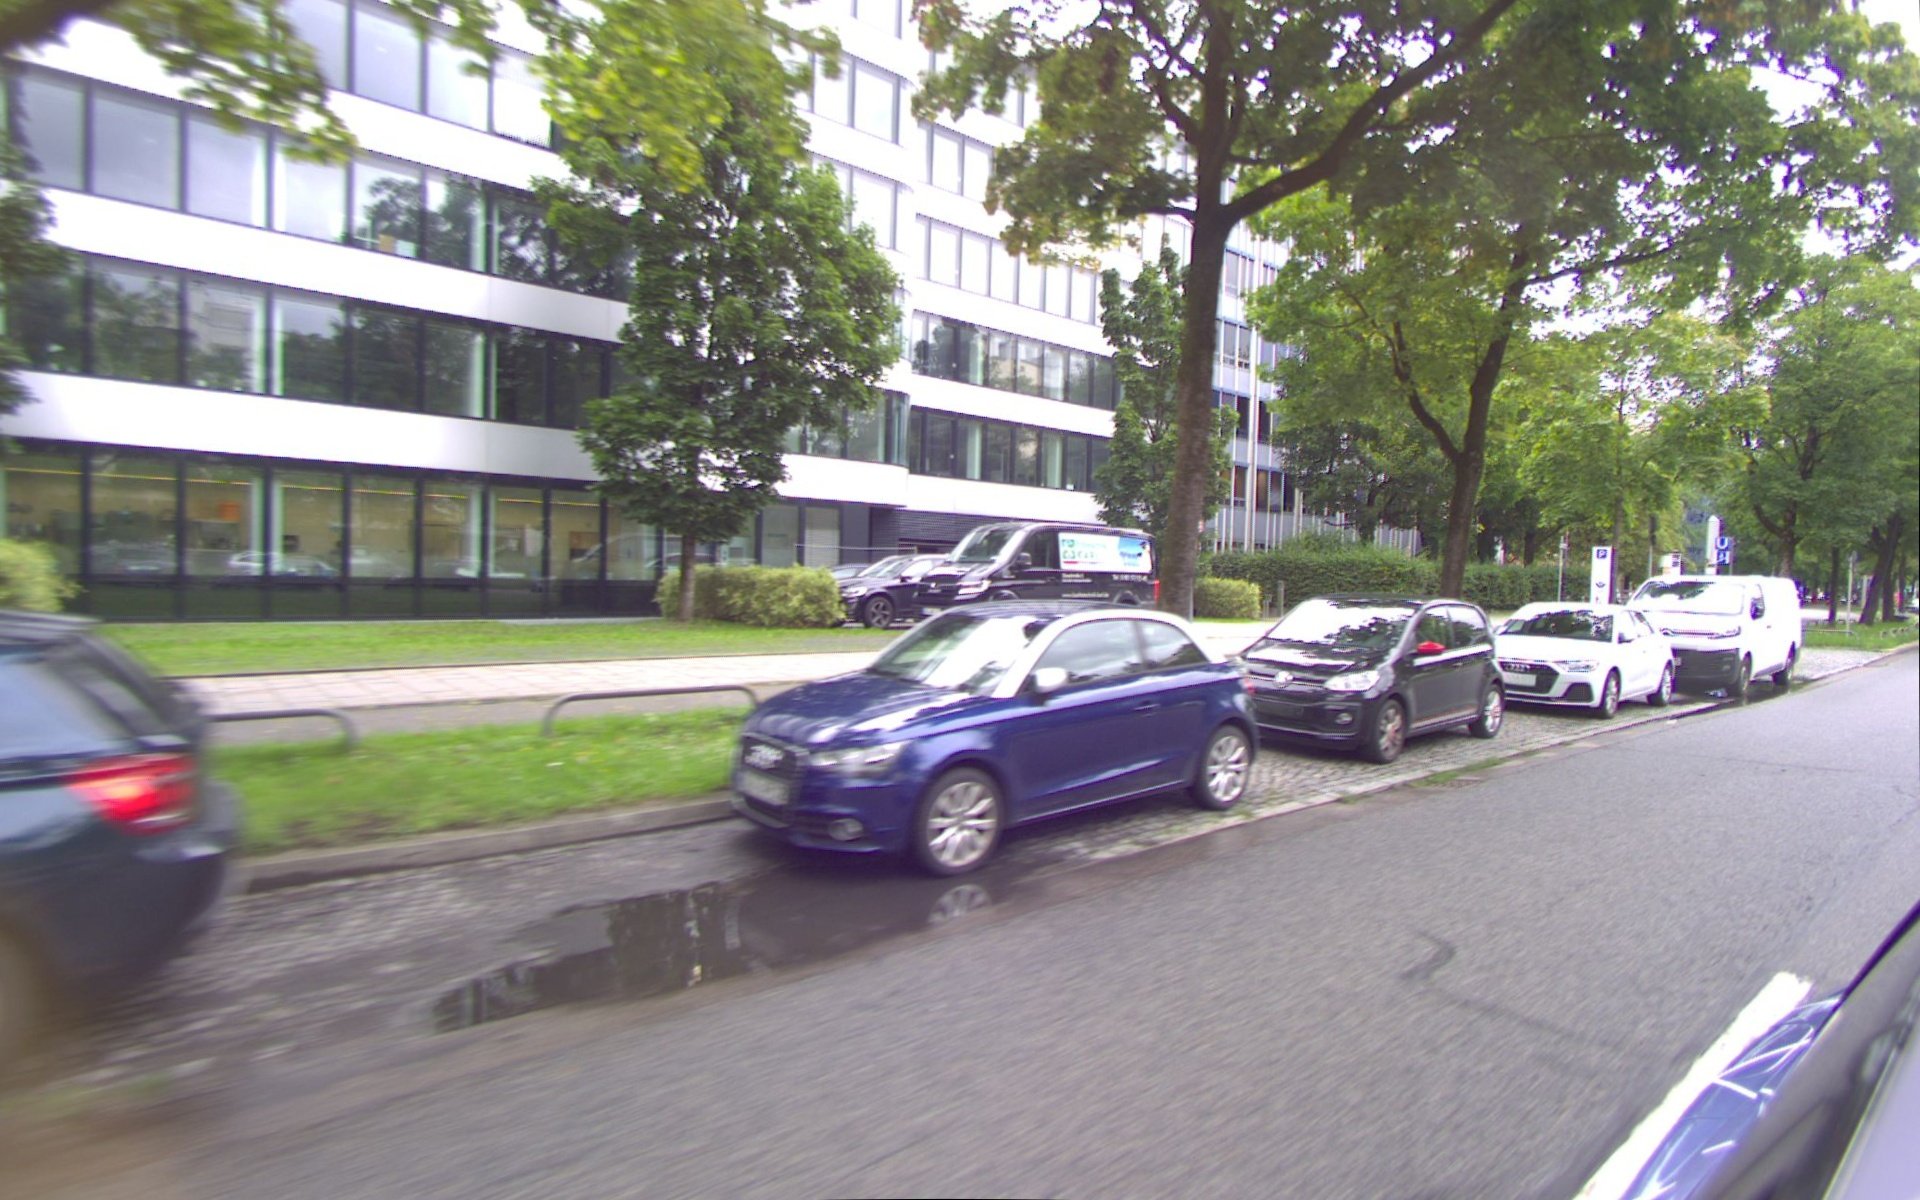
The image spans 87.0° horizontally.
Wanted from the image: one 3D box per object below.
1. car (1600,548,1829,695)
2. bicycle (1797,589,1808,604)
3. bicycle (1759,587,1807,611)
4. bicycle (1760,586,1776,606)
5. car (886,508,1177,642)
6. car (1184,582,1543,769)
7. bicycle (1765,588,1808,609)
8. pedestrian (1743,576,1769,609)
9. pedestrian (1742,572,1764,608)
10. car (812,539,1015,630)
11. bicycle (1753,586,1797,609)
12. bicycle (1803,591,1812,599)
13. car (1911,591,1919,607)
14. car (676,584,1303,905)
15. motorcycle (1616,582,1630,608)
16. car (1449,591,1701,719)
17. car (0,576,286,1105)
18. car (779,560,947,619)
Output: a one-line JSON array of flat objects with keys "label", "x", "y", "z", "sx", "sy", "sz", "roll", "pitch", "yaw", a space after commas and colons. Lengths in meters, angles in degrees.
[{"label": "car", "x": 13.337, "y": 0.281, "z": 17.739, "sx": 5.457, "sy": 2.184, "sz": 1.992, "roll": 0, "pitch": 3, "yaw": -41}, {"label": "bicycle", "x": 76.280, "y": -0.332, "z": 91.618, "sx": 0.620, "sy": 1.265, "sz": 1.891, "roll": 3, "pitch": 3, "yaw": 42}, {"label": "bicycle", "x": 47.232, "y": -0.064, "z": 58.099, "sx": 1.927, "sy": 1.203, "sz": 0.594, "roll": 5, "pitch": 2, "yaw": 16}, {"label": "bicycle", "x": 50.931, "y": -0.236, "z": 63.786, "sx": 1.922, "sy": 1.203, "sz": 0.488, "roll": 0, "pitch": 2, "yaw": -44}, {"label": "car", "x": 1.635, "y": -0.502, "z": 20.579, "sx": 6.162, "sy": 2.335, "sz": 2.268, "roll": 0, "pitch": 3, "yaw": -43}, {"label": "car", "x": 4.163, "y": 0.605, "z": 10.174, "sx": 3.908, "sy": 1.464, "sz": 1.705, "roll": 0, "pitch": 3, "yaw": -41}, {"label": "bicycle", "x": 50.980, "y": -0.104, "z": 62.436, "sx": 1.996, "sy": 1.112, "sz": 0.580, "roll": 4, "pitch": 4, "yaw": 4}, {"label": "pedestrian", "x": 42.506, "y": -0.396, "z": 54.037, "sx": 0.735, "sy": 1.735, "sz": 0.787, "roll": 1, "pitch": 2, "yaw": -27}, {"label": "pedestrian", "x": 43.000, "y": -0.541, "z": 54.891, "sx": 0.734, "sy": 1.923, "sz": 0.654, "roll": 1, "pitch": 2, "yaw": -29}, {"label": "car", "x": -0.970, "y": -0.354, "z": 22.798, "sx": 4.396, "sy": 1.840, "sz": 1.845, "roll": 0, "pitch": 3, "yaw": -43}, {"label": "bicycle", "x": 47.670, "y": -0.137, "z": 59.224, "sx": 1.920, "sy": 1.121, "sz": 0.580, "roll": 6, "pitch": 2, "yaw": 5}, {"label": "bicycle", "x": 104.571, "y": -0.673, "z": 124.873, "sx": 2.105, "sy": 0.952, "sz": 0.512, "roll": 0, "pitch": 2, "yaw": -43}, {"label": "car", "x": 97.293, "y": -0.081, "z": 102.000, "sx": 4.527, "sy": 1.610, "sz": 1.863, "roll": 0, "pitch": 3, "yaw": -44}, {"label": "car", "x": 0.399, "y": 0.670, "z": 6.717, "sx": 4.048, "sy": 1.438, "sz": 1.705, "roll": 0, "pitch": 3, "yaw": -41}, {"label": "motorcycle", "x": 34.802, "y": -0.255, "z": 53.095, "sx": 0.546, "sy": 1.335, "sz": 2.049, "roll": 3, "pitch": 2, "yaw": 34}, {"label": "car", "x": 8.489, "y": 0.639, "z": 13.828, "sx": 4.158, "sy": 1.414, "sz": 1.705, "roll": 0, "pitch": 3, "yaw": -41}, {"label": "car", "x": -4.416, "y": 0.658, "z": 2.533, "sx": 4.430, "sy": 1.425, "sz": 1.707, "roll": 0, "pitch": 3, "yaw": -38}, {"label": "car", "x": -2.483, "y": -0.264, "z": 25.717, "sx": 3.882, "sy": 1.391, "sz": 1.792, "roll": 1, "pitch": 1, "yaw": -23}]
